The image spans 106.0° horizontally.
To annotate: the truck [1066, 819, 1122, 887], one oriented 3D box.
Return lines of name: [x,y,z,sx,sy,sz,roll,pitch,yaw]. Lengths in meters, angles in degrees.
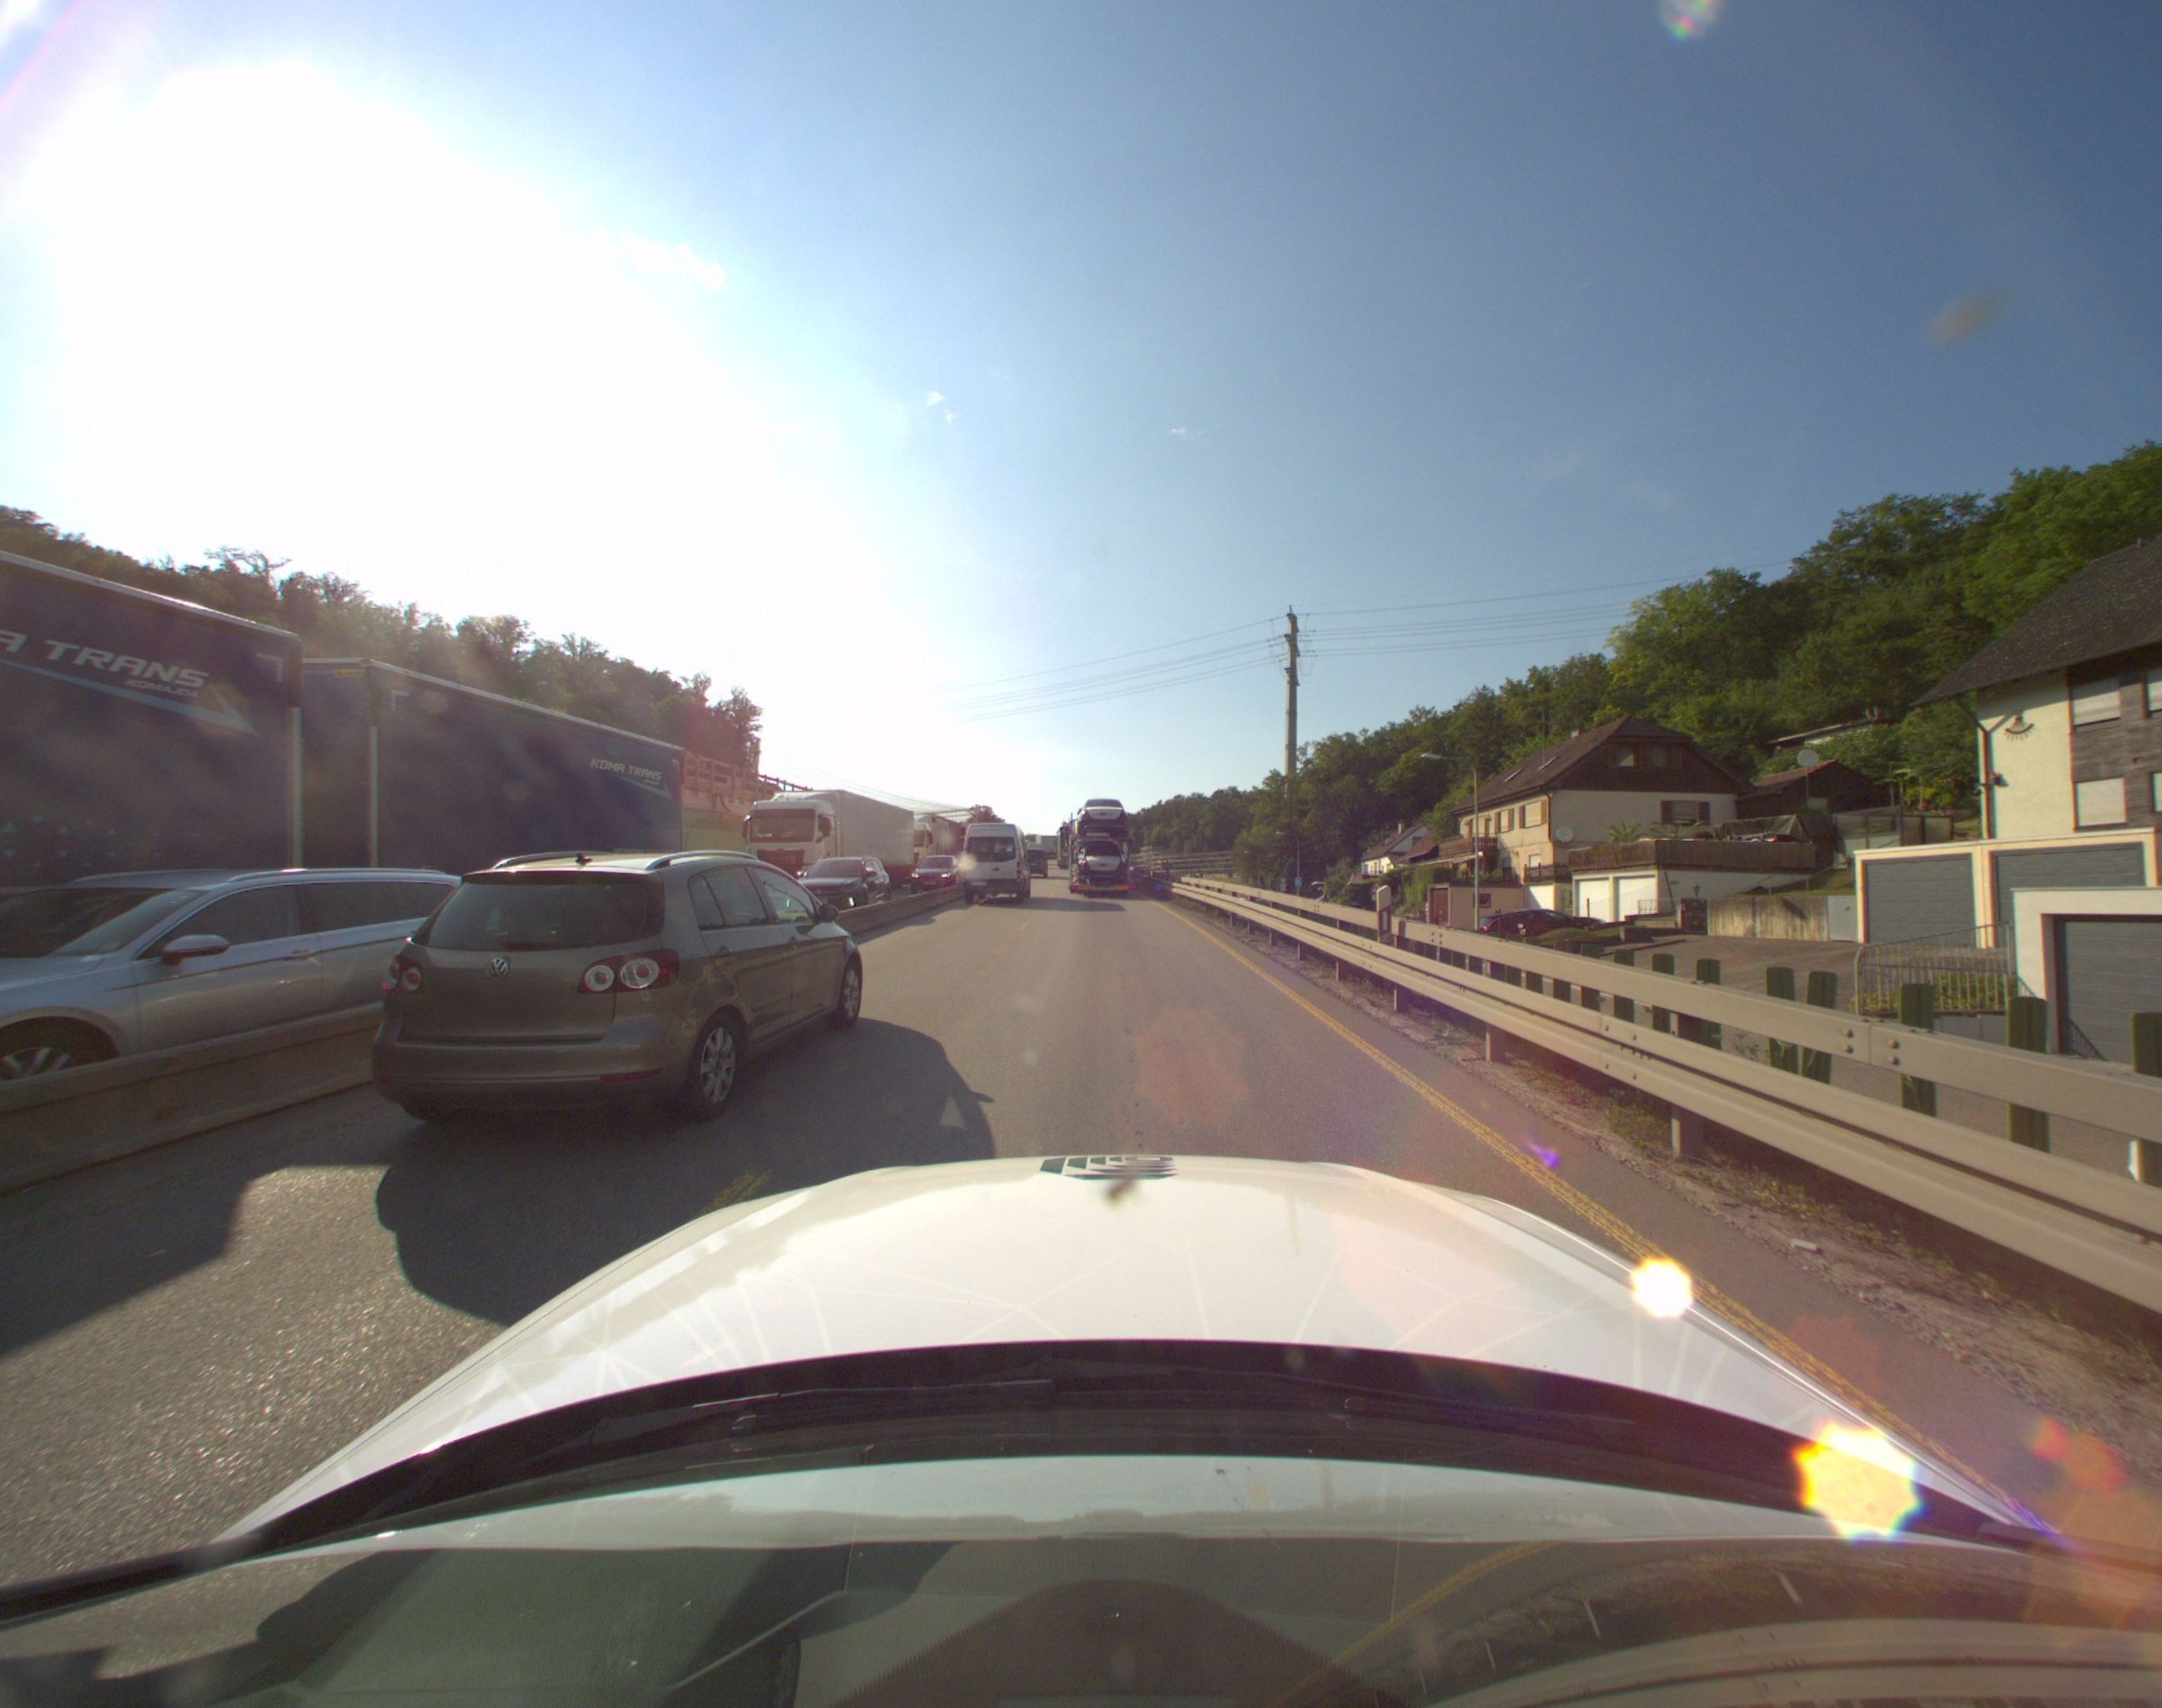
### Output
truck: [0.607,0.016,45.903,2.676,3.535,7.185,1,-1,-3]

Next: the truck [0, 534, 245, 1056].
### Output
truck: [-9.876,-0.464,3.445,2.615,4.112,9.629,-1,0,1]

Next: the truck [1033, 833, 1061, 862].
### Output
truck: [-6.072,-1.043,141.828,4.060,4.679,10.568,2,0,-6]

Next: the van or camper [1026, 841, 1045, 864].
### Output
van or camper: [-5.489,-0.105,98.985,1.963,2.592,5.038,3,-1,-1]

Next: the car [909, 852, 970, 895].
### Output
car: [-6.124,0.850,35.673,1.799,1.684,4.001,3,-1,2]

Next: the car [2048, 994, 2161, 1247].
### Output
car: [8.260,1.859,3.992,1.690,1.659,4.652,1,-2,4]

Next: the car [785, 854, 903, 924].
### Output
car: [-5.915,0.850,20.802,1.655,1.530,4.001,3,-1,2]

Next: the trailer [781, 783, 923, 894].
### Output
trailer: [-9.902,-0.482,37.215,2.701,4.093,12.566,3,-1,0]

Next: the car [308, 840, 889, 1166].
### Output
car: [-2.882,0.714,6.132,1.674,1.588,4.275,0,0,2]

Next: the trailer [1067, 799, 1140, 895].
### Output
trailer: [0.767,-0.114,38.002,2.674,3.535,15.281,1,-1,-1]

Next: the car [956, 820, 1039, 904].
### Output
car: [-2.826,0.271,28.834,1.985,2.648,5.535,1,0,3]

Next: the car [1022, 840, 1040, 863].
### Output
car: [-11.353,-0.505,184.352,3.440,5.035,9.633,3,0,-6]

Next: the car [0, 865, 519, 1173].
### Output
car: [-6.293,0.860,5.470,1.765,1.537,4.405,1,-1,3]

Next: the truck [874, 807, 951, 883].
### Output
truck: [-10.103,-0.464,49.601,2.973,4.153,7.390,3,0,0]

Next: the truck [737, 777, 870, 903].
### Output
truck: [-9.935,-0.407,29.915,2.701,4.093,6.202,-1,-1,0]

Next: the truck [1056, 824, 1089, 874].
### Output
truck: [-0.780,-0.427,79.245,2.898,4.607,7.285,2,-1,0]

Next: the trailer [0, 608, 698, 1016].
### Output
trailer: [-9.788,-0.448,13.112,2.597,4.112,9.626,-1,0,0]

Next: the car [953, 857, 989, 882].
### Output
car: [-6.860,0.967,51.026,1.708,1.477,3.511,2,0,0]

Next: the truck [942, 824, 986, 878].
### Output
truck: [-10.069,-0.202,70.810,2.427,4.356,7.520,2,0,2]

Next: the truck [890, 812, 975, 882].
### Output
truck: [-10.105,-0.364,57.589,2.973,4.153,15.850,3,0,0]

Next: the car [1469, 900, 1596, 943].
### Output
car: [17.805,2.643,32.254,3.972,1.442,1.891,3,-3,1]

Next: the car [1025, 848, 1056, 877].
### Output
car: [-2.798,0.613,57.035,1.801,1.904,4.001,3,-1,2]
